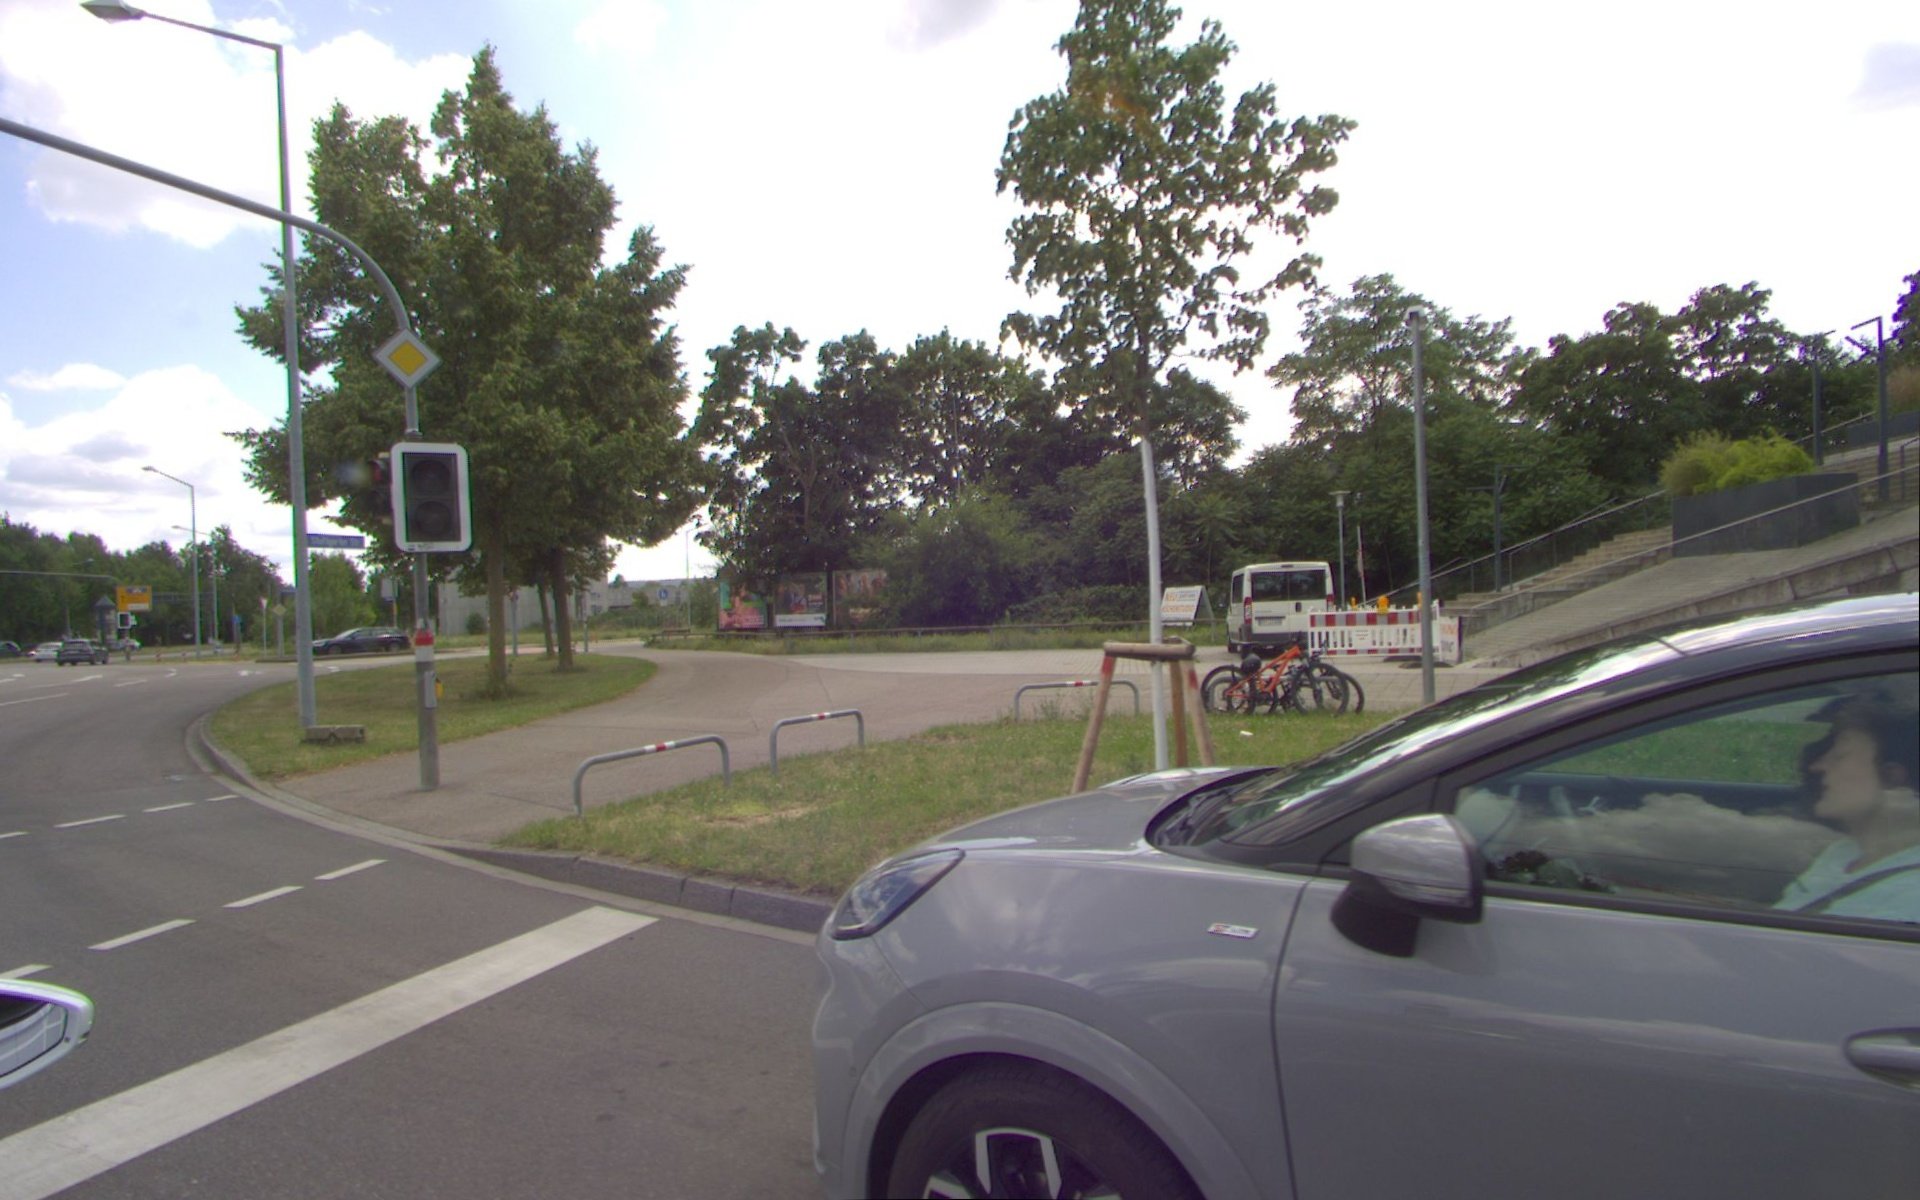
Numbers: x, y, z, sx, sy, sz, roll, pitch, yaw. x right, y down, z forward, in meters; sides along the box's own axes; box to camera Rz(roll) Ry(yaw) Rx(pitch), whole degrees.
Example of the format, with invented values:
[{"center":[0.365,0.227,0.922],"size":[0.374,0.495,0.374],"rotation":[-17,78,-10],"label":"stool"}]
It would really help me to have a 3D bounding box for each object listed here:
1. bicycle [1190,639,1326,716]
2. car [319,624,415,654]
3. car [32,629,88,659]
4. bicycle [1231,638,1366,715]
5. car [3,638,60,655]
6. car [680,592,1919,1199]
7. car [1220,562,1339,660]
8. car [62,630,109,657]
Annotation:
[{"center":[3.410,0.875,11.472],"size":[1.449,0.837,0.357],"rotation":[-1,0,24],"label":"bicycle"},{"center":[-30.422,1.983,51.449],"size":[1.669,1.482,3.971],"rotation":[-2,-1,39],"label":"car"},{"center":[-66.954,3.246,74.588],"size":[1.968,2.040,3.985],"rotation":[-1,0,-25],"label":"car"},{"center":[3.901,0.873,11.571],"size":[1.449,0.837,0.357],"rotation":[-1,0,24],"label":"bicycle"},{"center":[-85.211,4.268,91.999],"size":[1.811,1.327,4.780],"rotation":[-4,0,-17],"label":"car"},{"center":[1.548,0.745,1.896],"size":[4.033,1.490,1.667],"rotation":[-2,-1,31],"label":"car"},{"center":[7.842,0.279,25.097],"size":[2.108,2.176,5.149],"rotation":[-1,-1,10],"label":"car"},{"center":[-56.616,2.823,64.862],"size":[1.976,1.646,4.279],"rotation":[0,-2,-37],"label":"car"}]
